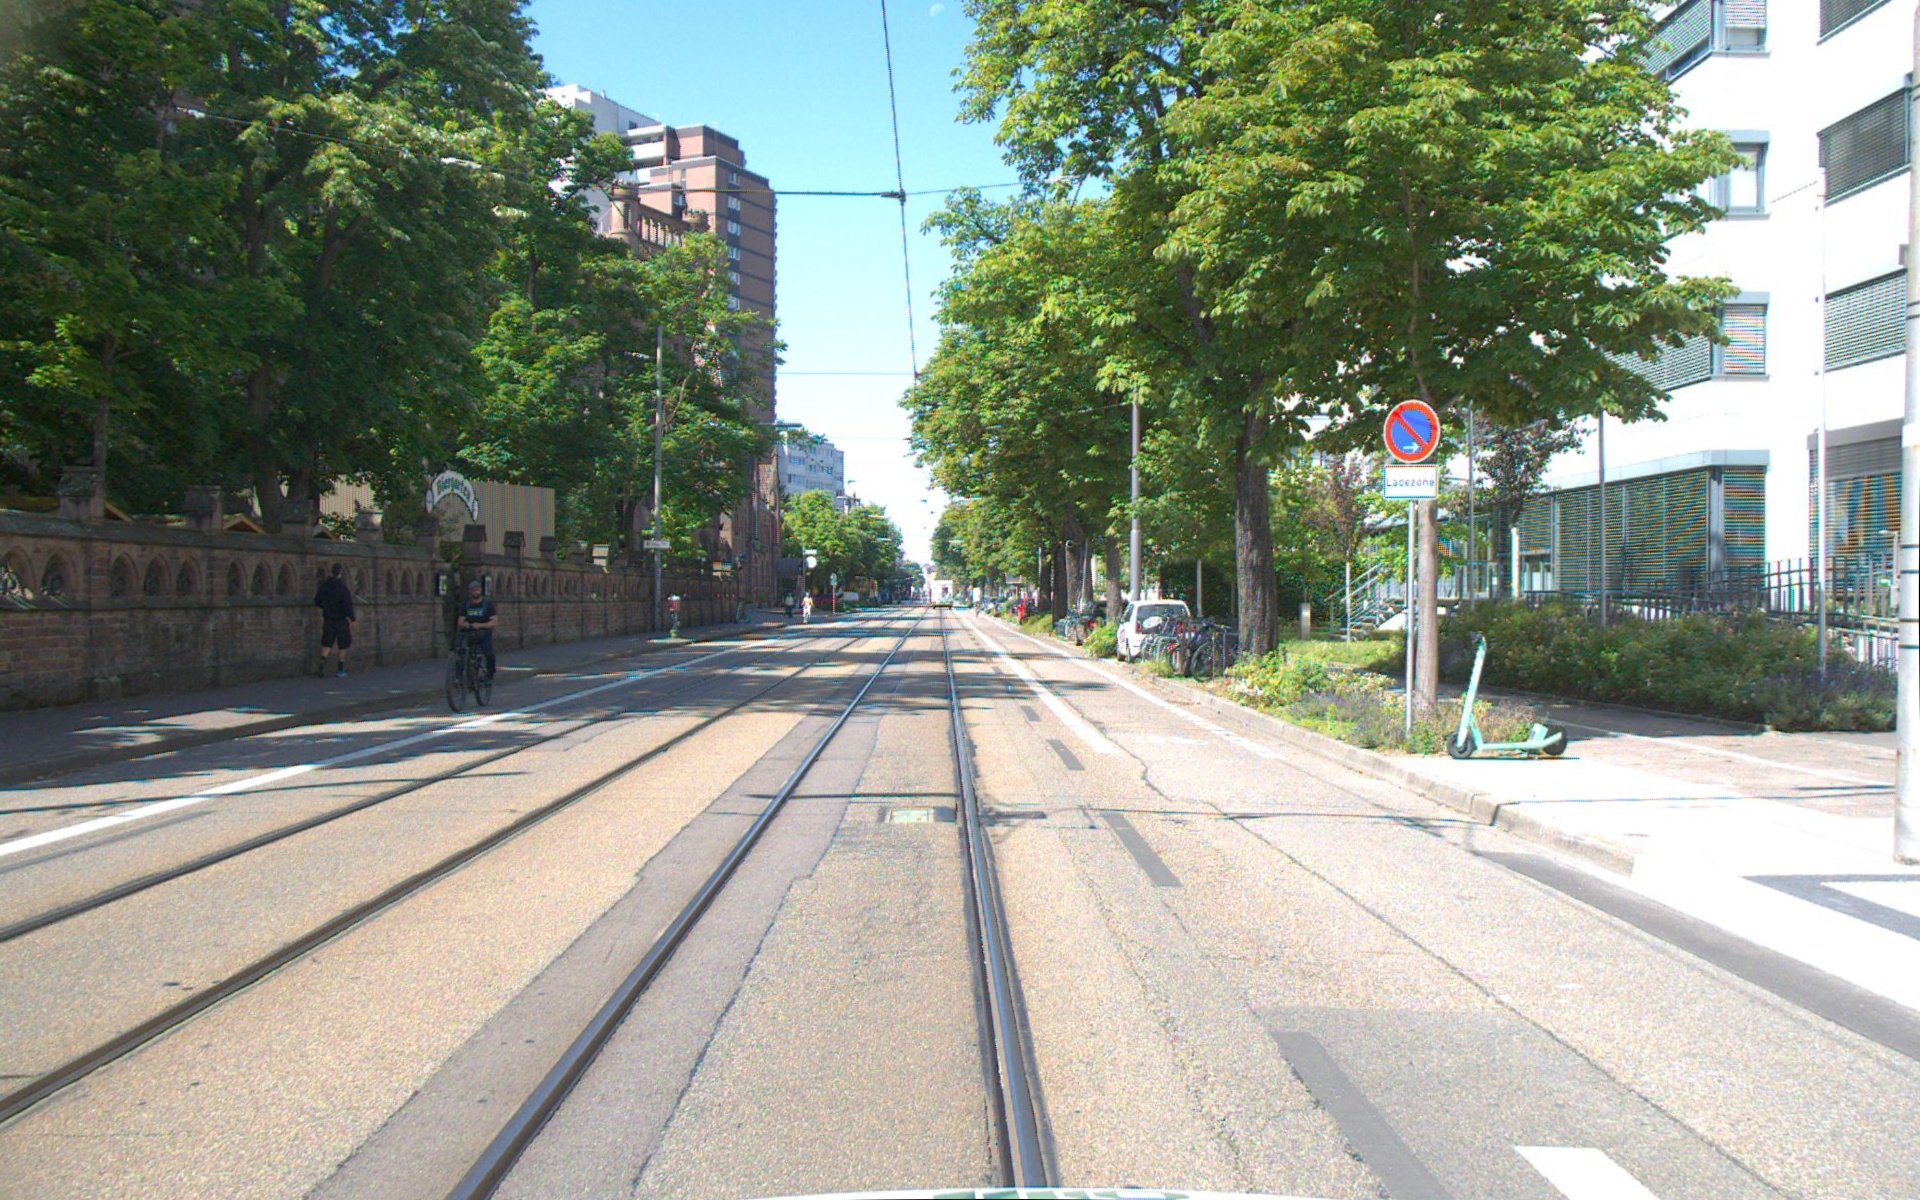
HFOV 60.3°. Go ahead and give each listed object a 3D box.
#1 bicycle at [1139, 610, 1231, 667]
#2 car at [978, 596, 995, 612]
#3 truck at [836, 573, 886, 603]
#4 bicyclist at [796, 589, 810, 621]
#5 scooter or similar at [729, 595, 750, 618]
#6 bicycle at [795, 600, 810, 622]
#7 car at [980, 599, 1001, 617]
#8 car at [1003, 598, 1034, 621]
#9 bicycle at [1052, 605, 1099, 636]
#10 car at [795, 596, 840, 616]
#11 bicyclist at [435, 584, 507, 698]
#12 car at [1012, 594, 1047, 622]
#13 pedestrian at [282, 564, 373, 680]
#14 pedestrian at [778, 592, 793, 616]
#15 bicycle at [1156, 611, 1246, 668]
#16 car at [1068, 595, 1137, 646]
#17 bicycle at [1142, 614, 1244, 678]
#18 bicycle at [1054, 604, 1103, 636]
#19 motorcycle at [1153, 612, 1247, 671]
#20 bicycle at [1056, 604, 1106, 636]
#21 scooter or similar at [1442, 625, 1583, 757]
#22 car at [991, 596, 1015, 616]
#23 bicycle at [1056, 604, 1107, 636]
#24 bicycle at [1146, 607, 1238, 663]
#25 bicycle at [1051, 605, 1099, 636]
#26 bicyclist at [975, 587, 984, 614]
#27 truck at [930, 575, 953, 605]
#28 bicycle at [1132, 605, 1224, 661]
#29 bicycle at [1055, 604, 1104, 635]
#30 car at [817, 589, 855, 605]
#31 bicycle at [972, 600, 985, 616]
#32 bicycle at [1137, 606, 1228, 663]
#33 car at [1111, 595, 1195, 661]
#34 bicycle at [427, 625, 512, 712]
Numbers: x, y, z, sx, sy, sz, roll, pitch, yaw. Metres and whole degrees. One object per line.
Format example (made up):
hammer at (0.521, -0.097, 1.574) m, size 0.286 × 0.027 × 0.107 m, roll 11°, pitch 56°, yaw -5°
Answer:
bicycle at (4.672, 0.788, 34.375) m, size 1.811 × 1.151 × 0.680 m, roll 0°, pitch 0°, yaw -2°
car at (2.626, 0.402, 165.678) m, size 1.596 × 1.498 × 4.113 m, roll 0°, pitch 0°, yaw -1°
truck at (-13.033, -1.519, 219.428) m, size 2.755 × 3.927 × 10.001 m, roll 0°, pitch 0°, yaw 21°
bicyclist at (-8.740, 0.280, 92.149) m, size 0.710 × 1.728 × 1.146 m, roll 0°, pitch 0°, yaw -1°
scooter or similar at (-10.994, 0.315, 82.530) m, size 0.327 × 1.149 × 1.181 m, roll 0°, pitch 0°, yaw 38°
bicycle at (-8.781, 0.620, 92.227) m, size 0.649 × 1.174 × 2.014 m, roll 0°, pitch 0°, yaw 0°
car at (2.566, 0.634, 140.057) m, size 1.596 × 1.498 × 4.113 m, roll 0°, pitch 0°, yaw -1°
car at (3.527, 0.571, 100.499) m, size 1.597 × 1.378 × 3.899 m, roll 0°, pitch 0°, yaw -3°
bicycle at (4.242, 0.743, 60.800) m, size 1.689 × 1.105 × 0.478 m, roll 0°, pitch 0°, yaw -2°
car at (-13.593, 0.547, 157.737) m, size 3.959 × 1.842 × 1.864 m, roll 0°, pitch 0°, yaw -38°
bicyclist at (-6.830, 0.558, 23.147) m, size 0.725 × 1.557 × 0.947 m, roll 0°, pitch 0°, yaw -1°
car at (3.775, 0.425, 90.647) m, size 1.597 × 1.498 × 3.717 m, roll 0°, pitch 0°, yaw -3°
pedestrian at (-10.613, 0.353, 27.795) m, size 0.956 × 1.847 × 1.185 m, roll 4°, pitch 0°, yaw -1°
pedestrian at (-11.411, 0.270, 108.260) m, size 0.867 × 1.538 × 1.472 m, roll 0°, pitch 0°, yaw -9°
bicycle at (4.789, 0.785, 32.963) m, size 1.689 × 1.105 × 0.639 m, roll 0°, pitch 0°, yaw -2°
car at (4.420, 0.603, 51.693) m, size 1.597 × 1.509 × 4.271 m, roll 0°, pitch 0°, yaw -3°
bicycle at (4.123, 0.810, 29.329) m, size 1.689 × 1.105 × 0.789 m, roll 0°, pitch 0°, yaw -2°
bicycle at (4.182, 0.697, 58.598) m, size 1.689 × 1.105 × 0.570 m, roll 0°, pitch 0°, yaw -2°
motorcycle at (4.570, 0.781, 31.556) m, size 1.689 × 1.105 × 0.658 m, roll 0°, pitch 0°, yaw -2°
bicycle at (4.231, 0.702, 57.952) m, size 1.689 × 1.105 × 0.696 m, roll 0°, pitch 0°, yaw -2°
scooter or similar at (5.158, 0.838, 15.486) m, size 1.102 × 1.187 × 0.676 m, roll 0°, pitch 0°, yaw 1°
car at (3.154, 0.444, 122.177) m, size 1.596 × 1.498 × 4.113 m, roll 0°, pitch 0°, yaw -1°
bicycle at (4.200, 0.697, 57.294) m, size 1.689 × 1.105 × 0.628 m, roll 0°, pitch 0°, yaw -2°
bicycle at (4.741, 0.708, 33.848) m, size 1.756 × 1.105 × 0.726 m, roll 0°, pitch 0°, yaw -2°
bicycle at (4.180, 0.739, 60.305) m, size 1.689 × 1.105 × 0.615 m, roll 0°, pitch 0°, yaw -2°
bicyclist at (1.346, 0.030, 114.305) m, size 0.623 × 1.904 × 1.024 m, roll 0°, pitch 0°, yaw -2°
truck at (-2.010, -1.039, 176.265) m, size 2.353 × 3.163 × 6.036 m, roll 0°, pitch 0°, yaw -1°
bicycle at (4.698, 0.702, 35.702) m, size 1.865 × 1.190 × 0.819 m, roll 0°, pitch 0°, yaw -2°
bicycle at (4.262, 0.686, 59.174) m, size 1.689 × 1.105 × 0.589 m, roll 0°, pitch 0°, yaw -2°
car at (-14.294, -0.329, 190.702) m, size 3.947 × 1.780 × 1.979 m, roll 0°, pitch 0°, yaw -32°
bicycle at (1.295, 0.554, 114.128) m, size 0.838 × 1.129 × 2.139 m, roll 0°, pitch 0°, yaw -1°
bicycle at (4.703, 0.726, 35.055) m, size 1.835 × 1.161 × 0.686 m, roll 0°, pitch 0°, yaw -2°
car at (4.563, 0.642, 39.506) m, size 1.596 × 1.498 × 3.630 m, roll 0°, pitch 0°, yaw 0°
bicycle at (-6.832, 0.932, 23.128) m, size 0.579 × 1.125 × 2.054 m, roll 0°, pitch 0°, yaw 0°
